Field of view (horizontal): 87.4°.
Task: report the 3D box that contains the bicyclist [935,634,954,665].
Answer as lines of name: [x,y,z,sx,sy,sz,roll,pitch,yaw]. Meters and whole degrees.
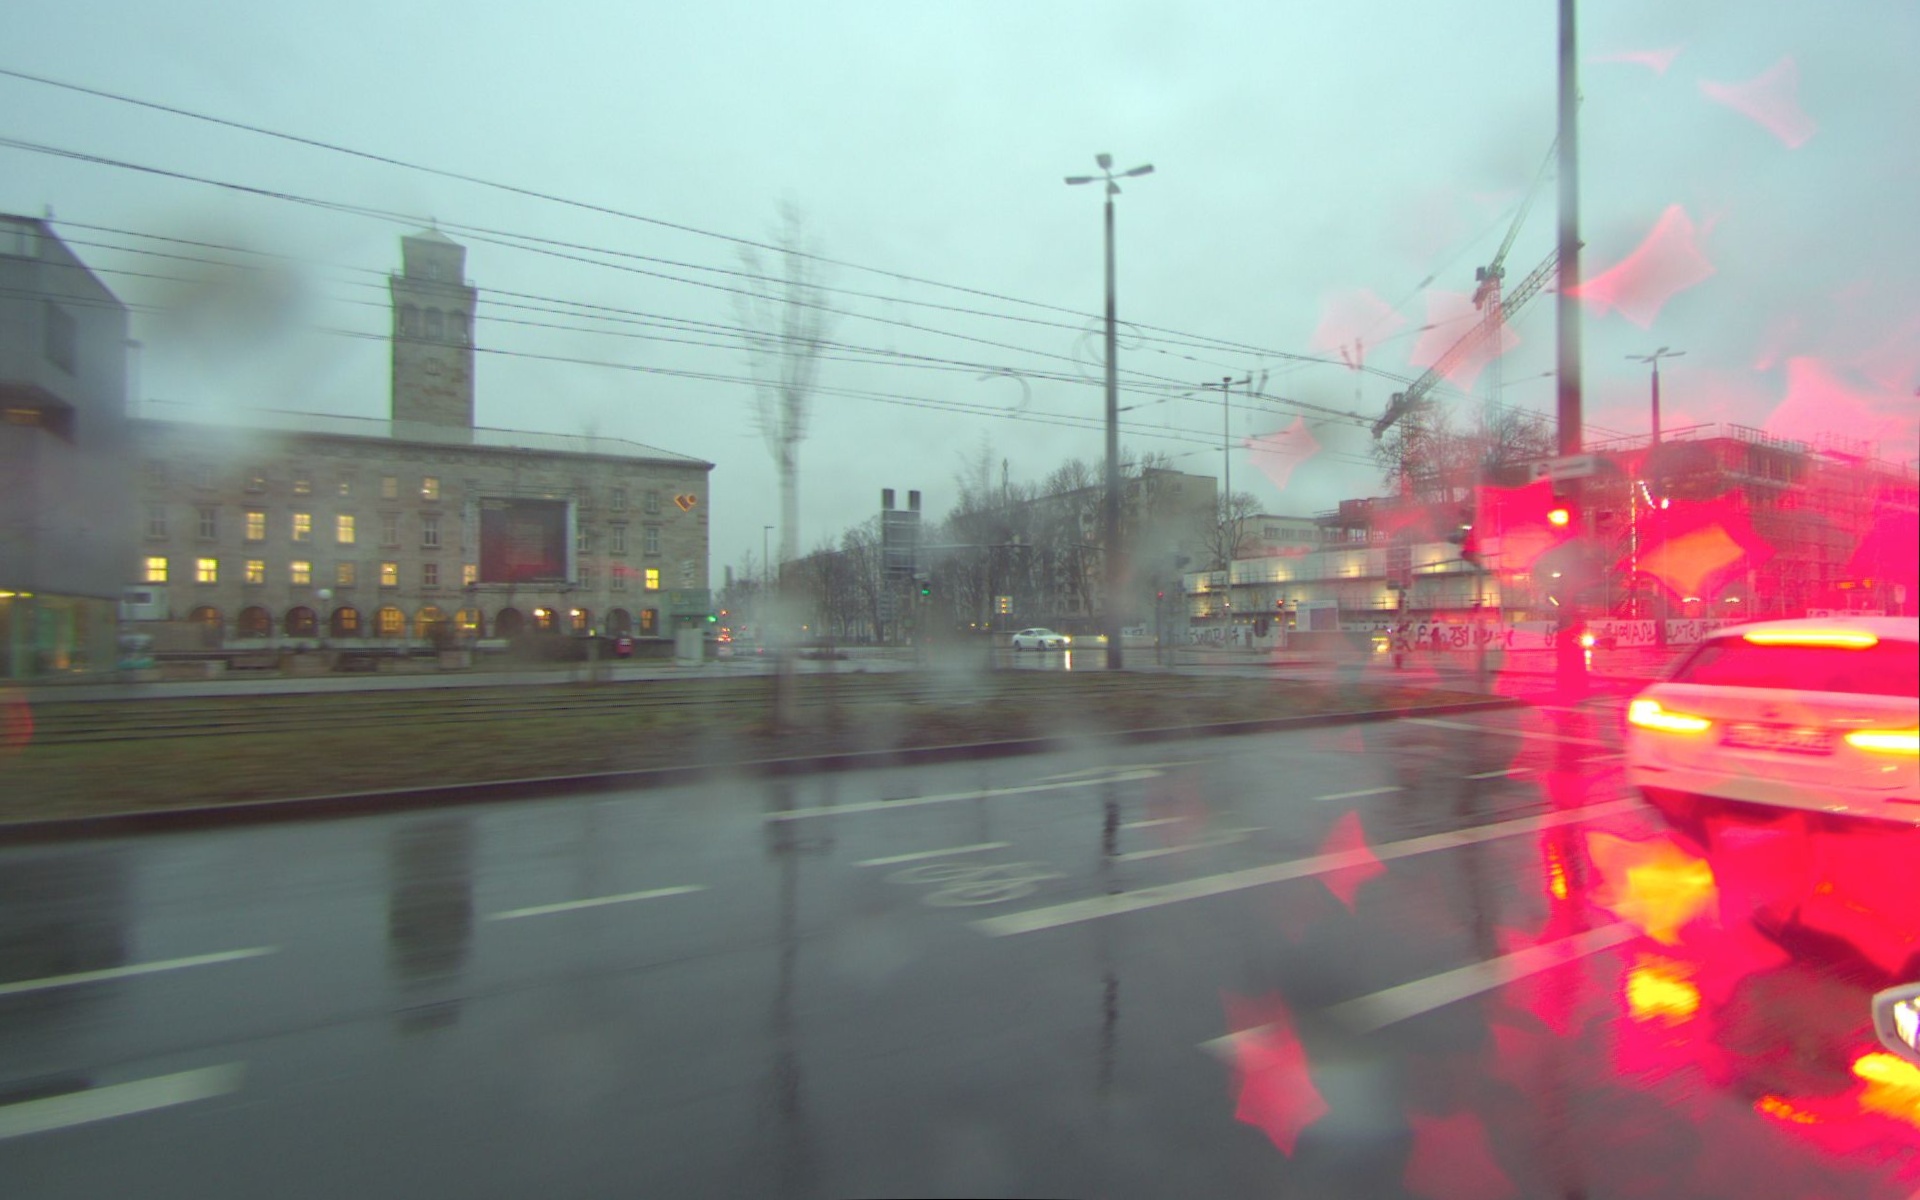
bicyclist: [-0.874,2.757,55.917,0.611,1.719,1.026,1,-2,-35]

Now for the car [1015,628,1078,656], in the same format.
car: [5.383,2.631,63.156,1.978,1.706,3.966,1,-2,-32]

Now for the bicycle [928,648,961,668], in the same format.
bicycle: [-0.863,3.209,55.883,0.611,1.046,2.357,1,-2,-35]

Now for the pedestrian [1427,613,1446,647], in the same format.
pedestrian: [28.659,1.812,60.354,0.741,2.039,0.786,5,-4,-38]

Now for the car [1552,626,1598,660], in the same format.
car: [38.272,2.640,62.454,1.736,2.040,3.978,-1,-2,42]

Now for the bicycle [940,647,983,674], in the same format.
bicycle: [0.039,3.180,52.921,0.714,1.380,2.810,1,-3,-37]

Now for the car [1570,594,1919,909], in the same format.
car: [6.436,0.792,6.794,4.866,1.540,1.900,1,-2,-31]

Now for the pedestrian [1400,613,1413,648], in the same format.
pedestrian: [27.193,1.863,61.172,0.635,2.039,0.503,5,-6,-39]

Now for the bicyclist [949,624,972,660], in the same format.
bicyclist: [0.020,2.228,52.869,0.714,1.863,0.986,1,-3,-38]
